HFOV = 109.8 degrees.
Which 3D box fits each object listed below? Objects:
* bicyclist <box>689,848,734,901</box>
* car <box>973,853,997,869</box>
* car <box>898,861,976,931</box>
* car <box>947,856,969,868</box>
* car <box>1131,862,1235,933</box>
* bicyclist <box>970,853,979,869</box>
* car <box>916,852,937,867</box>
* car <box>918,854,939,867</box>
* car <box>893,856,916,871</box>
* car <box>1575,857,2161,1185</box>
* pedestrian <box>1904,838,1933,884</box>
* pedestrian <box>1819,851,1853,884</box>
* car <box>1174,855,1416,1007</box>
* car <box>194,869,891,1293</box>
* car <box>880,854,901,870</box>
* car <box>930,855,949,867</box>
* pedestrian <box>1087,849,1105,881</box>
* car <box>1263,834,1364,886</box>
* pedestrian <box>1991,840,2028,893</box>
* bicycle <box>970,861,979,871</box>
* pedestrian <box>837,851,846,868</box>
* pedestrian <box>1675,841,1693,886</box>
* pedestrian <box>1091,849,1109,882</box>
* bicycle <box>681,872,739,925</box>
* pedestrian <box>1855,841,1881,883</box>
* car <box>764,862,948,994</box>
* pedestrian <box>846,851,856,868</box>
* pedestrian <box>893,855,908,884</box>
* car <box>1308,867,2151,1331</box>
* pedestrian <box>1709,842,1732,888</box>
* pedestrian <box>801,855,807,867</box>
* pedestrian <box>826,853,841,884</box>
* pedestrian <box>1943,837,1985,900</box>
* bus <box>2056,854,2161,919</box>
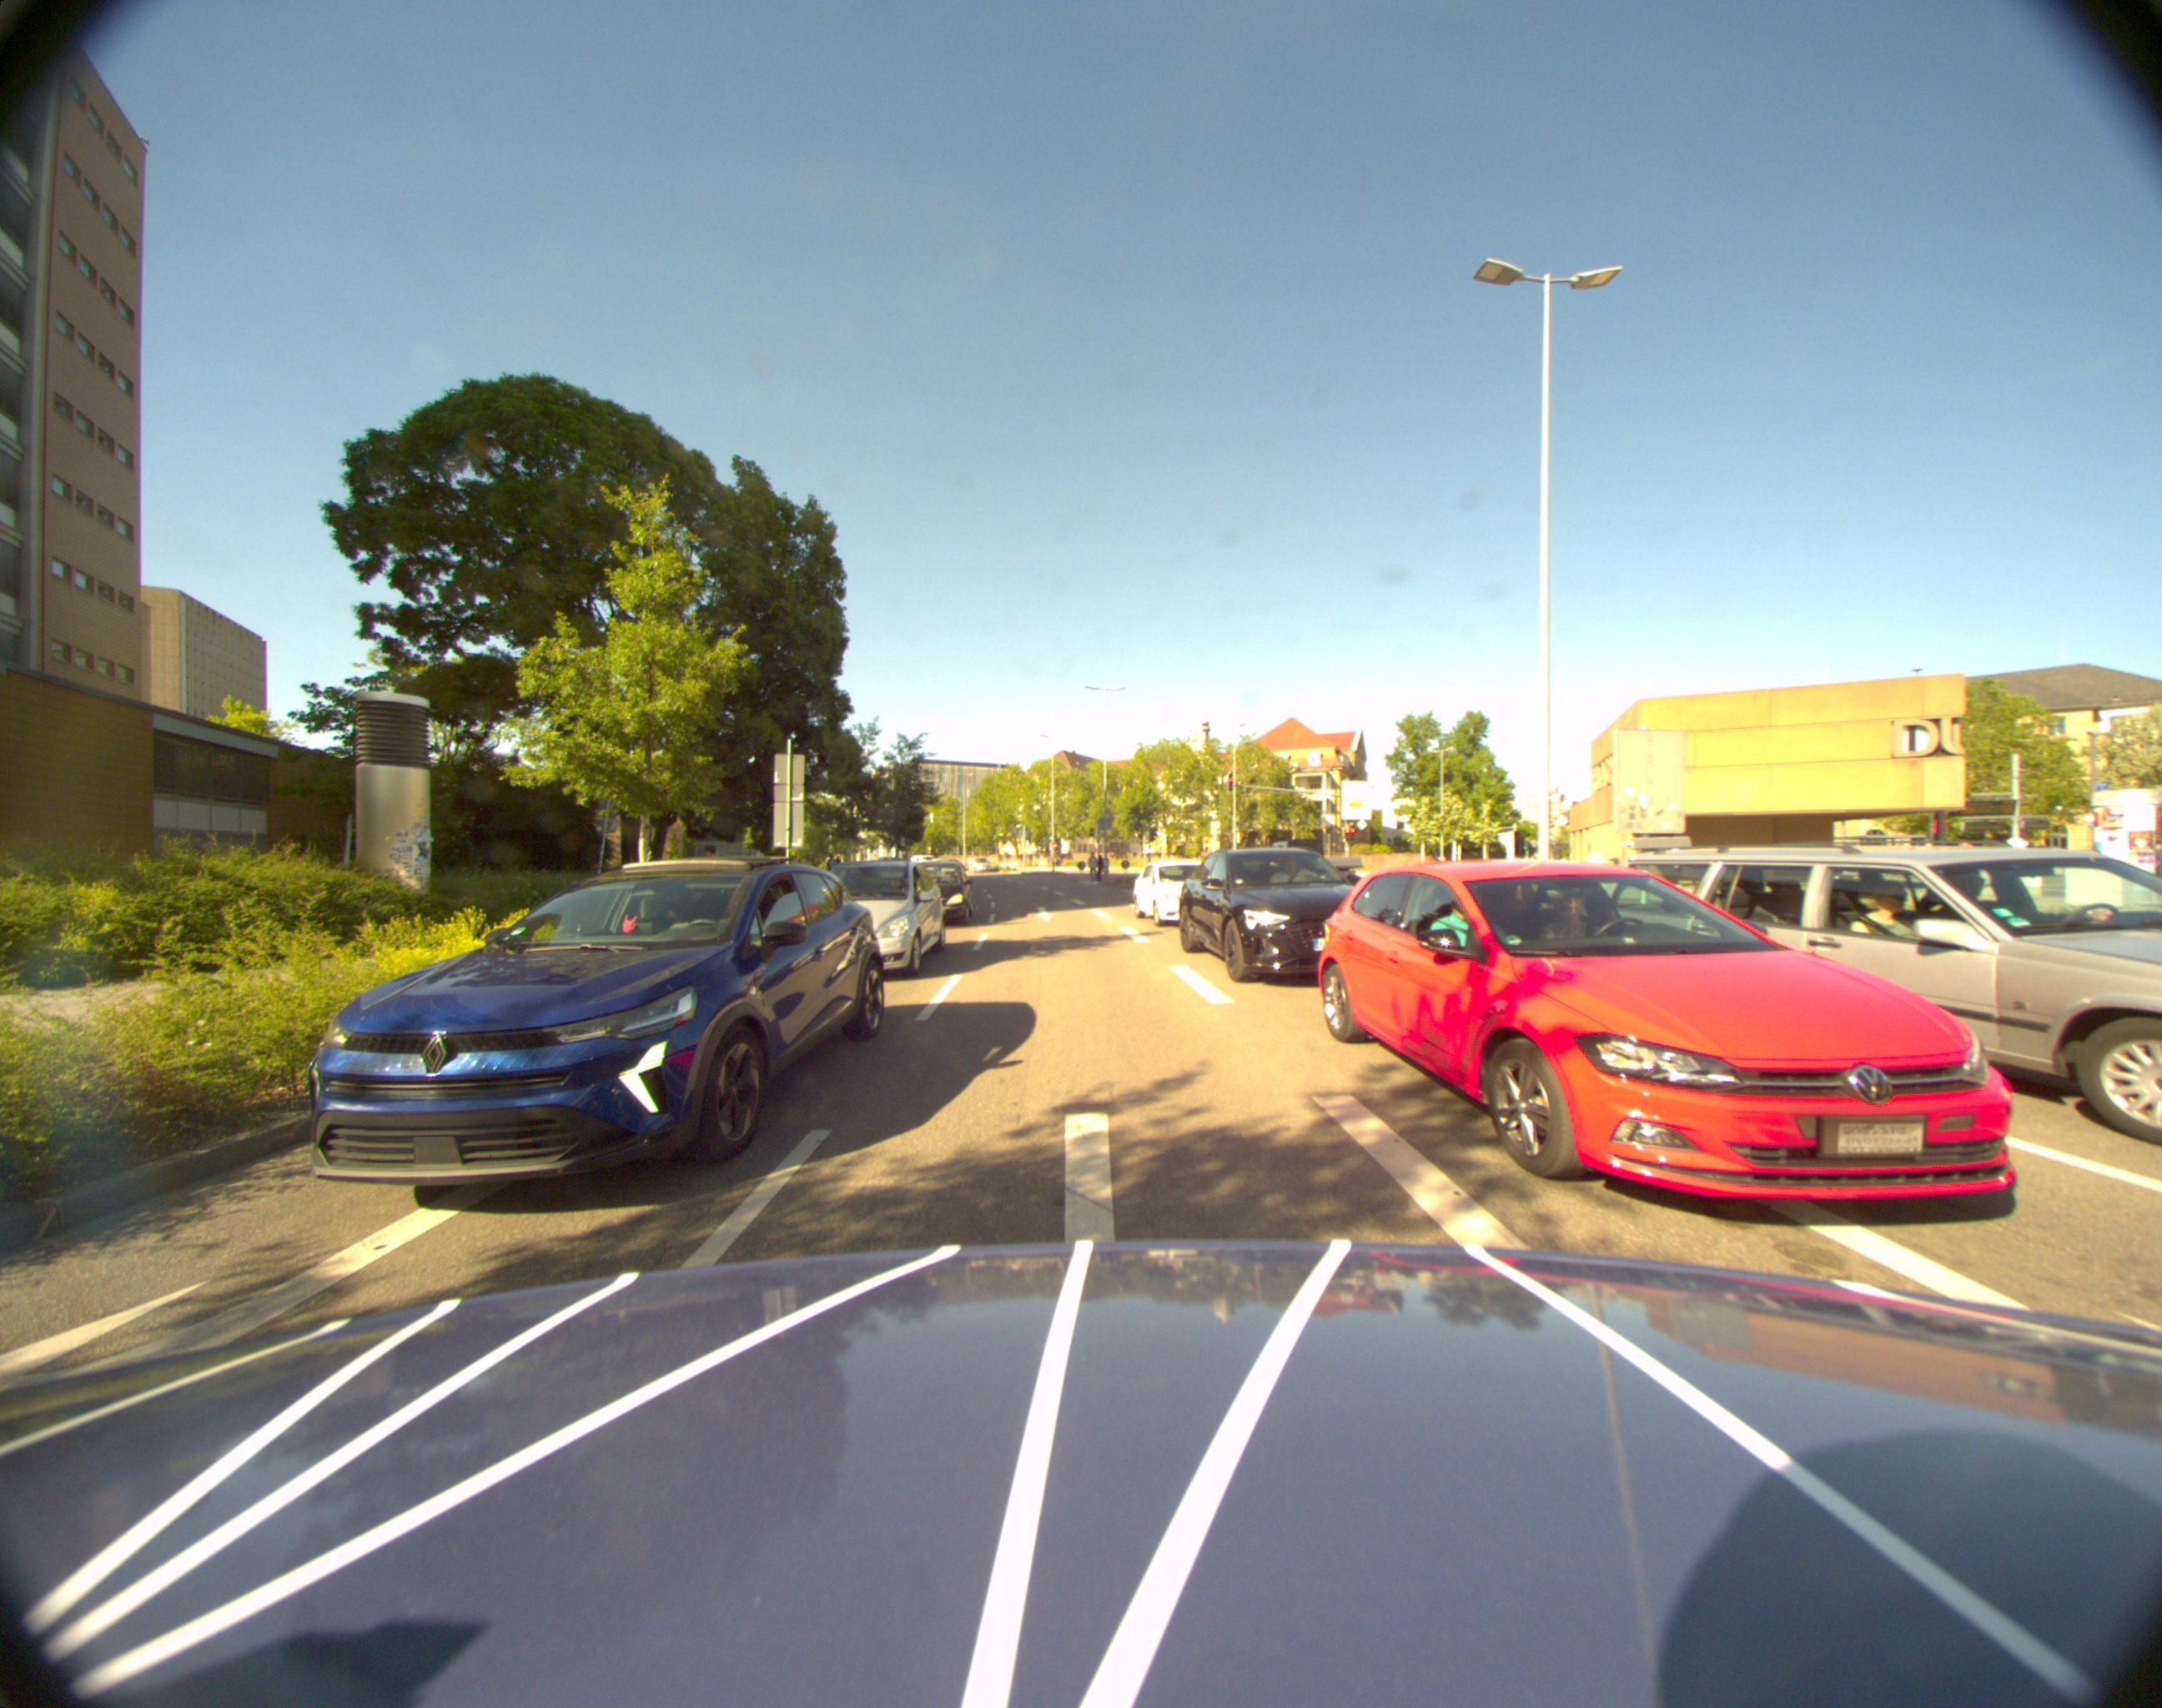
[{"bbox_3d":[-9.207,0.495,18.985,0.722,1.271,0.907,2,0,-7],"label":"bicyclist"},{"bbox_3d":[-10.235,0.727,80.931,1.527,1.669,3.374,-2,0,-24],"label":"car"},{"bbox_3d":[-3.596,0.996,19.482,1.651,1.601,3.487,0,0,-6],"label":"car"},{"bbox_3d":[-14.871,0.956,91.878,1.587,1.198,3.991,-3,2,-23],"label":"car"},{"bbox_3d":[2.274,0.925,17.823,1.575,1.410,3.711,-2,0,-6],"label":"car"},{"bbox_3d":[-10.509,0.711,74.908,0.696,1.549,0.815,-2,1,-16],"label":"bicyclist"},{"bbox_3d":[-21.413,0.772,105.367,1.790,2.002,4.223,-2,1,-26],"label":"car"},{"bbox_3d":[-16.936,0.750,84.337,1.754,1.370,3.568,-1,0,-21],"label":"car"},{"bbox_3d":[-18.904,0.996,81.136,1.754,1.467,3.567,-2,1,-23],"label":"car"},{"bbox_3d":[5.770,0.788,5.001,1.713,1.464,4.751,-2,0,-3],"label":"car"},{"bbox_3d":[32.867,0.280,29.821,0.645,1.766,0.468,-1,1,-4],"label":"pedestrian"},{"bbox_3d":[30.156,0.528,30.364,0.645,1.303,0.763,-1,0,10],"label":"pedestrian"},{"bbox_3d":[2.572,0.826,10.362,1.859,1.606,4.452,0,0,-3],"label":"car"},{"bbox_3d":[-2.659,0.948,5.077,1.705,1.596,4.084,-1,0,0],"label":"car"},{"bbox_3d":[-21.775,0.889,86.844,1.830,1.842,3.745,0,0,-21],"label":"car"},{"bbox_3d":[-18.382,0.899,98.650,1.598,1.596,3.066,-1,0,-26],"label":"car"},{"bbox_3d":[0.867,0.616,44.495,0.887,1.814,0.776,-2,1,-7],"label":"pedestrian"},{"bbox_3d":[11.131,0.259,37.053,2.117,2.300,6.209,-1,0,-10],"label":"car"},{"bbox_3d":[31.370,0.419,25.676,0.644,1.766,0.469,0,1,21],"label":"pedestrian"},{"bbox_3d":[-10.513,1.175,74.936,0.591,0.884,1.652,-2,0,-16],"label":"bicycle"},{"bbox_3d":[-27.169,0.626,86.150,0.823,1.906,0.770,-3,1,-29],"label":"pedestrian"},{"bbox_3d":[24.044,0.358,30.292,0.467,1.766,0.647,0,1,29],"label":"pedestrian"},{"bbox_3d":[1.051,0.636,43.229,0.757,1.814,0.775,-2,1,-17],"label":"pedestrian"},{"bbox_3d":[-9.265,1.083,19.047,0.692,1.211,1.833,2,0,-7],"label":"bicycle"},{"bbox_3d":[33.191,0.337,32.043,0.645,1.766,0.468,-1,1,-4],"label":"pedestrian"},{"bbox_3d":[-3.185,0.951,11.601,1.786,1.615,4.042,0,0,-3],"label":"car"},{"bbox_3d":[-26.098,0.587,86.169,0.823,1.906,0.770,-3,1,-29],"label":"pedestrian"},{"bbox_3d":[-10.057,0.880,42.326,0.694,1.594,0.660,-1,0,-29],"label":"pedestrian"},{"bbox_3d":[2.804,0.871,4.522,1.674,1.464,3.853,-2,0,-1],"label":"car"},{"bbox_3d":[24.530,0.415,29.145,0.644,1.766,0.618,0,1,42],"label":"pedestrian"},{"bbox_3d":[-46.754,1.189,128.113,0.823,1.906,0.770,-2,1,-26],"label":"pedestrian"},{"bbox_3d":[-13.020,0.751,40.040,0.693,1.594,0.661,0,0,-14],"label":"pedestrian"},{"bbox_3d":[25.834,0.415,22.226,0.647,1.778,0.666,-3,1,-28],"label":"pedestrian"},{"bbox_3d":[21.666,0.628,14.092,1.646,1.234,4.181,-1,0,-5],"label":"bus"}]
